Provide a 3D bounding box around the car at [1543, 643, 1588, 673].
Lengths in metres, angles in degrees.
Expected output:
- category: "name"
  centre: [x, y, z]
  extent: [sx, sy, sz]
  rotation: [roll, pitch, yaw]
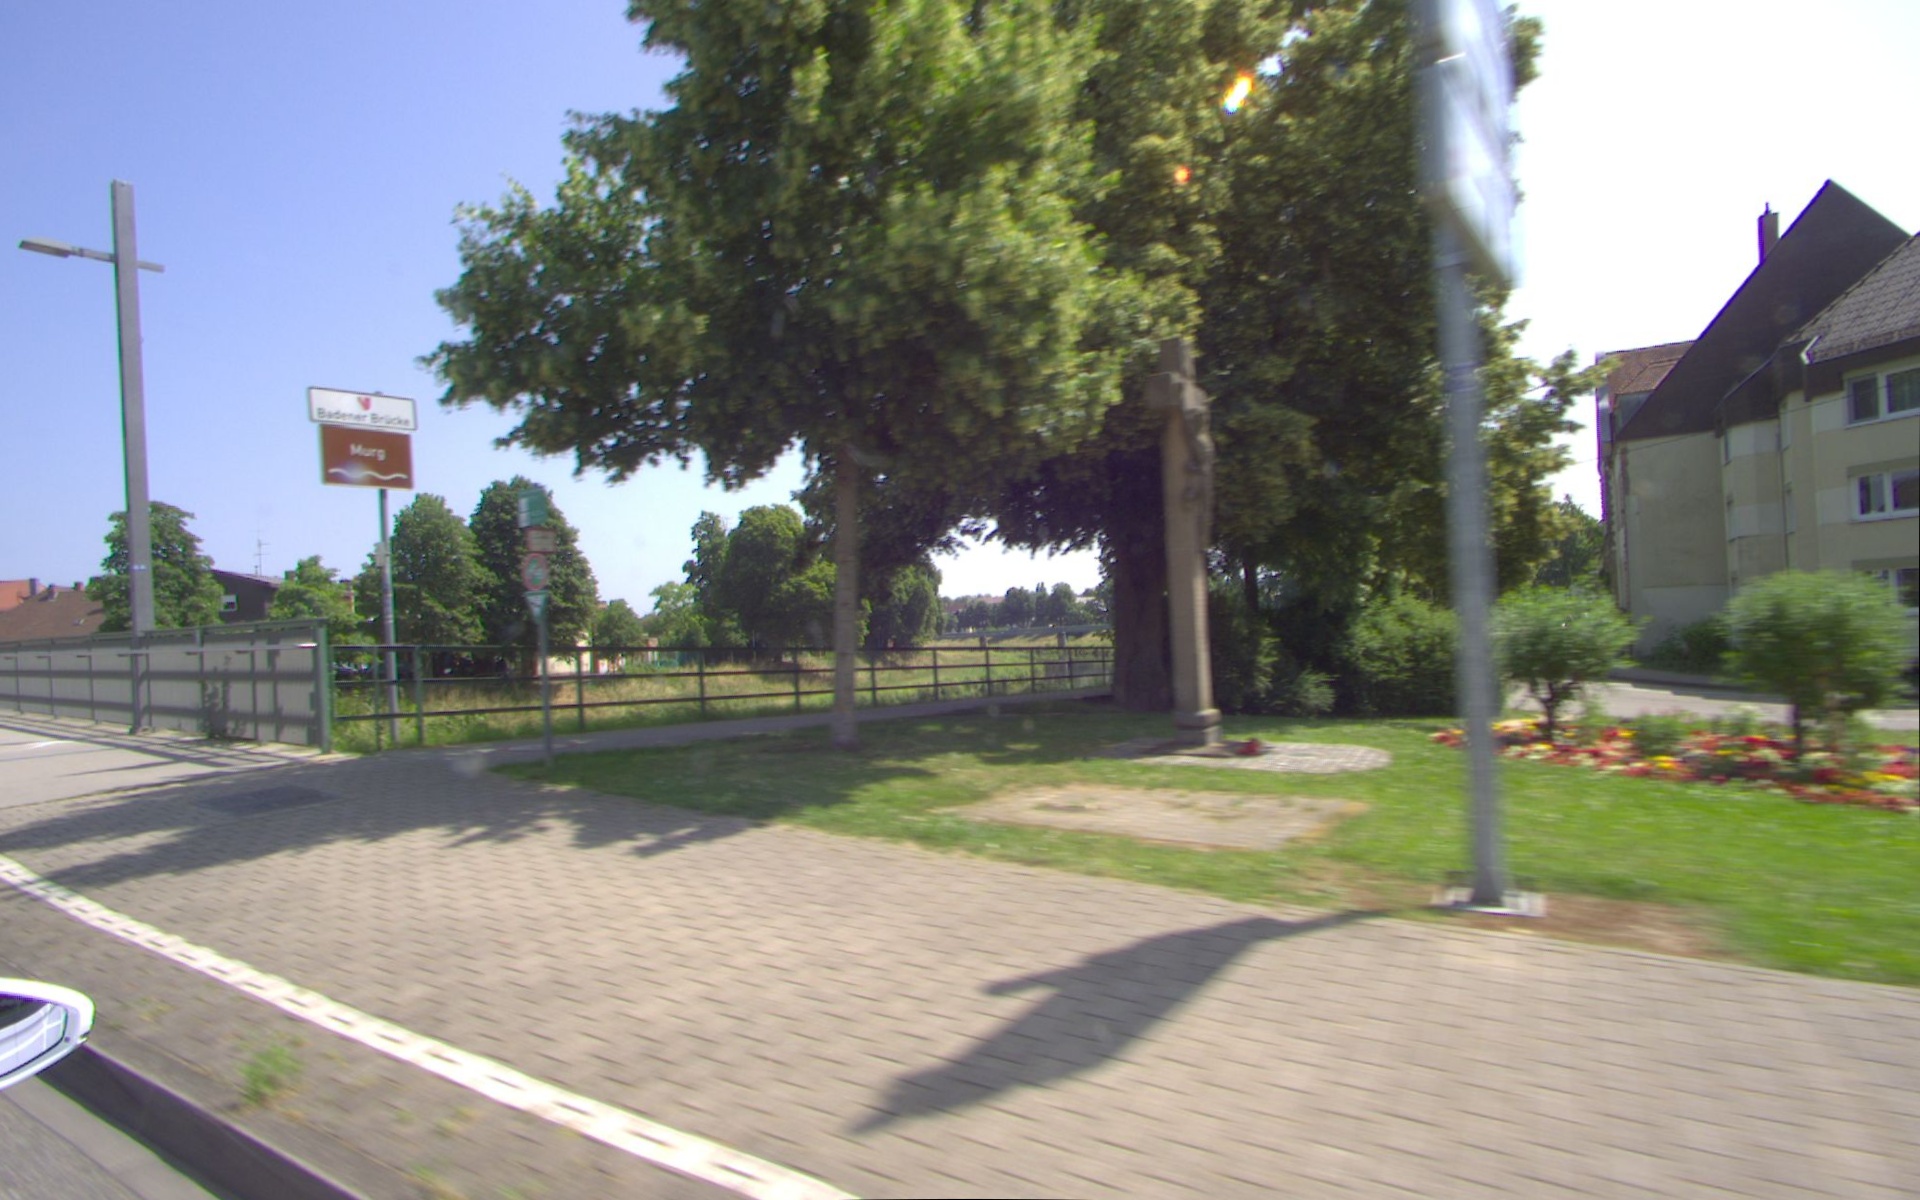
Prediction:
- category: "car"
  centre: [33.005, 3.140, 54.659]
  extent: [1.800, 1.571, 3.986]
  rotation: [-2, -3, 28]
